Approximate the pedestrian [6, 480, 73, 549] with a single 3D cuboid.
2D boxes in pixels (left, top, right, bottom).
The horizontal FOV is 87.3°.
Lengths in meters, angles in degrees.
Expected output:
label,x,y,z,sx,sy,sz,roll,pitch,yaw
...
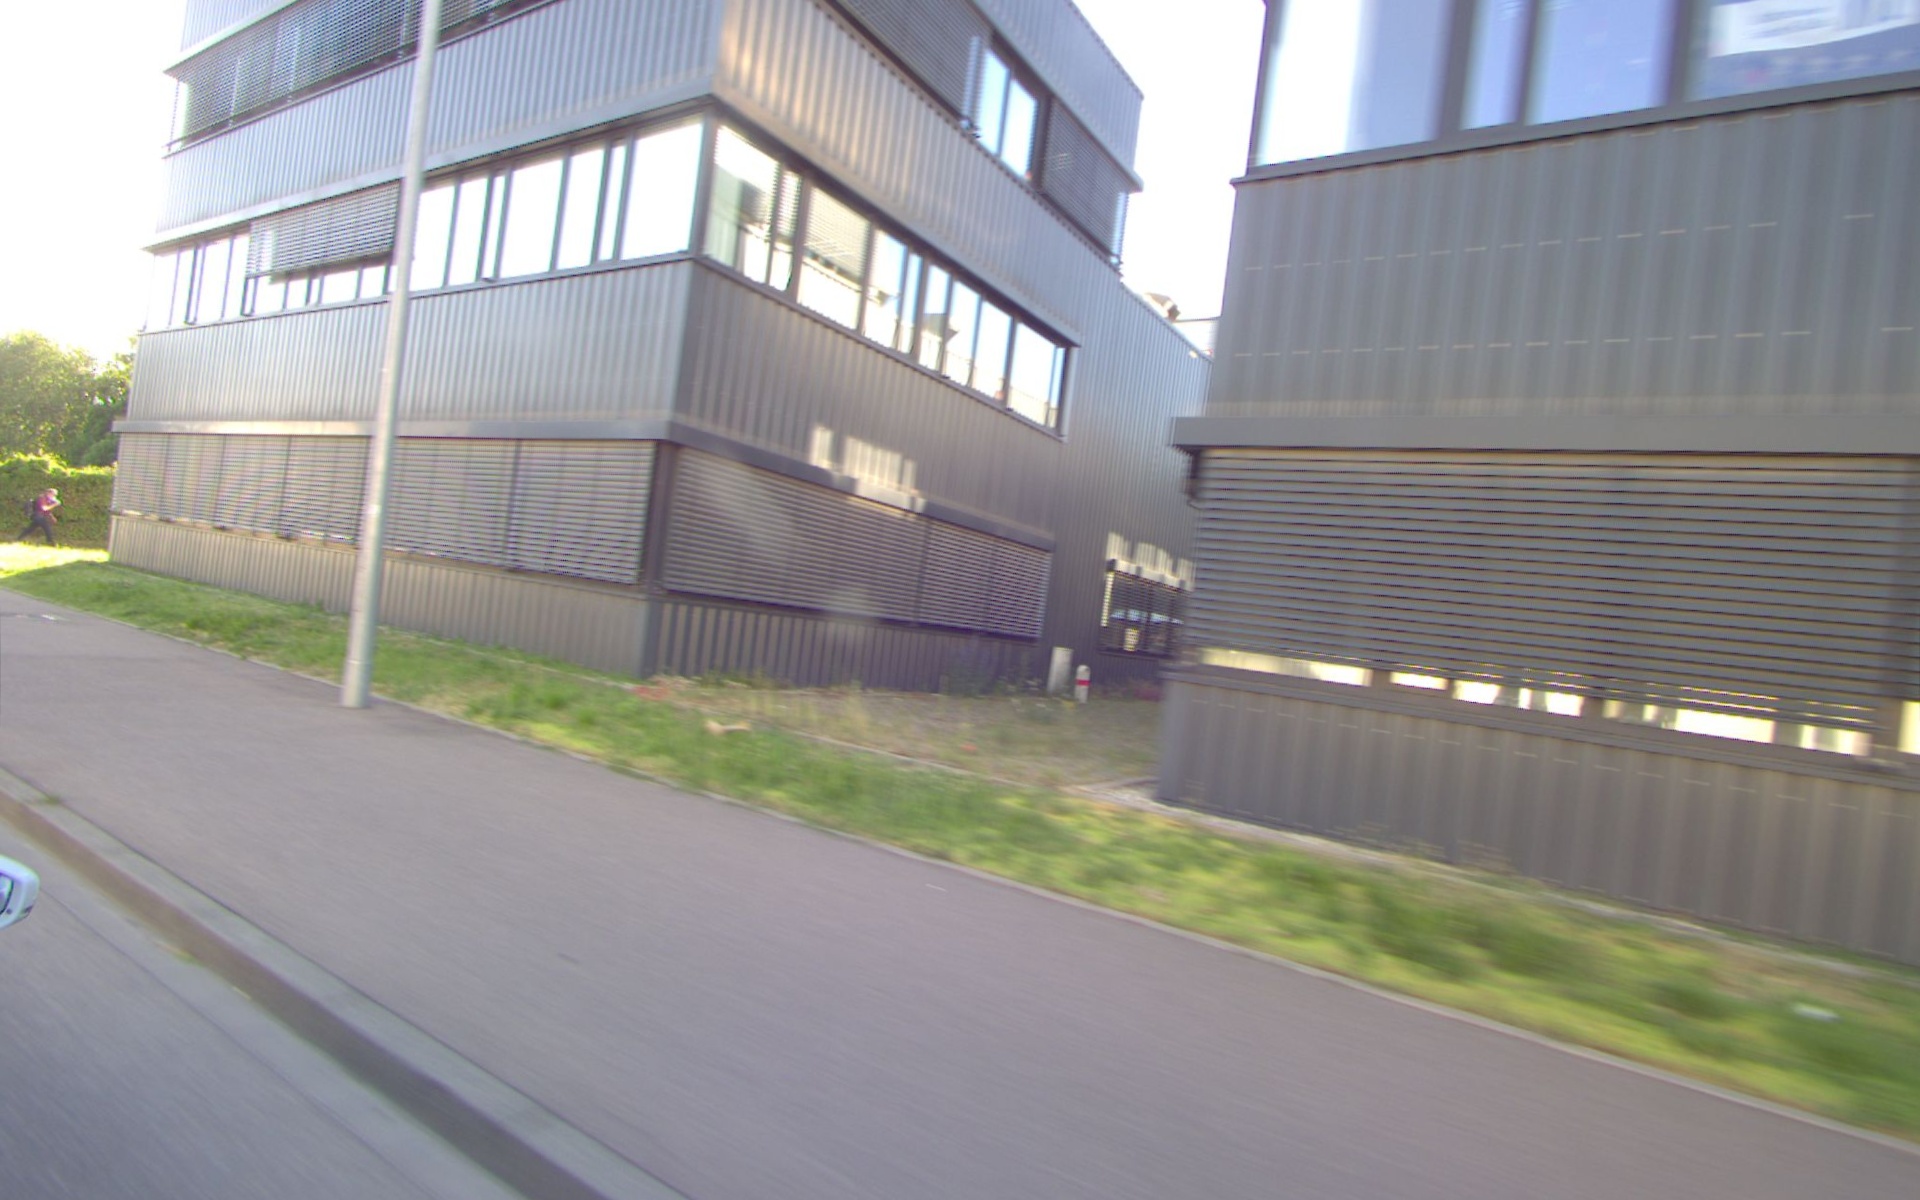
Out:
label,x,y,z,sx,sy,sz,roll,pitch,yaw
pedestrian,-26.652,-2.459,29.129,0.881,1.816,1.153,7,2,30
